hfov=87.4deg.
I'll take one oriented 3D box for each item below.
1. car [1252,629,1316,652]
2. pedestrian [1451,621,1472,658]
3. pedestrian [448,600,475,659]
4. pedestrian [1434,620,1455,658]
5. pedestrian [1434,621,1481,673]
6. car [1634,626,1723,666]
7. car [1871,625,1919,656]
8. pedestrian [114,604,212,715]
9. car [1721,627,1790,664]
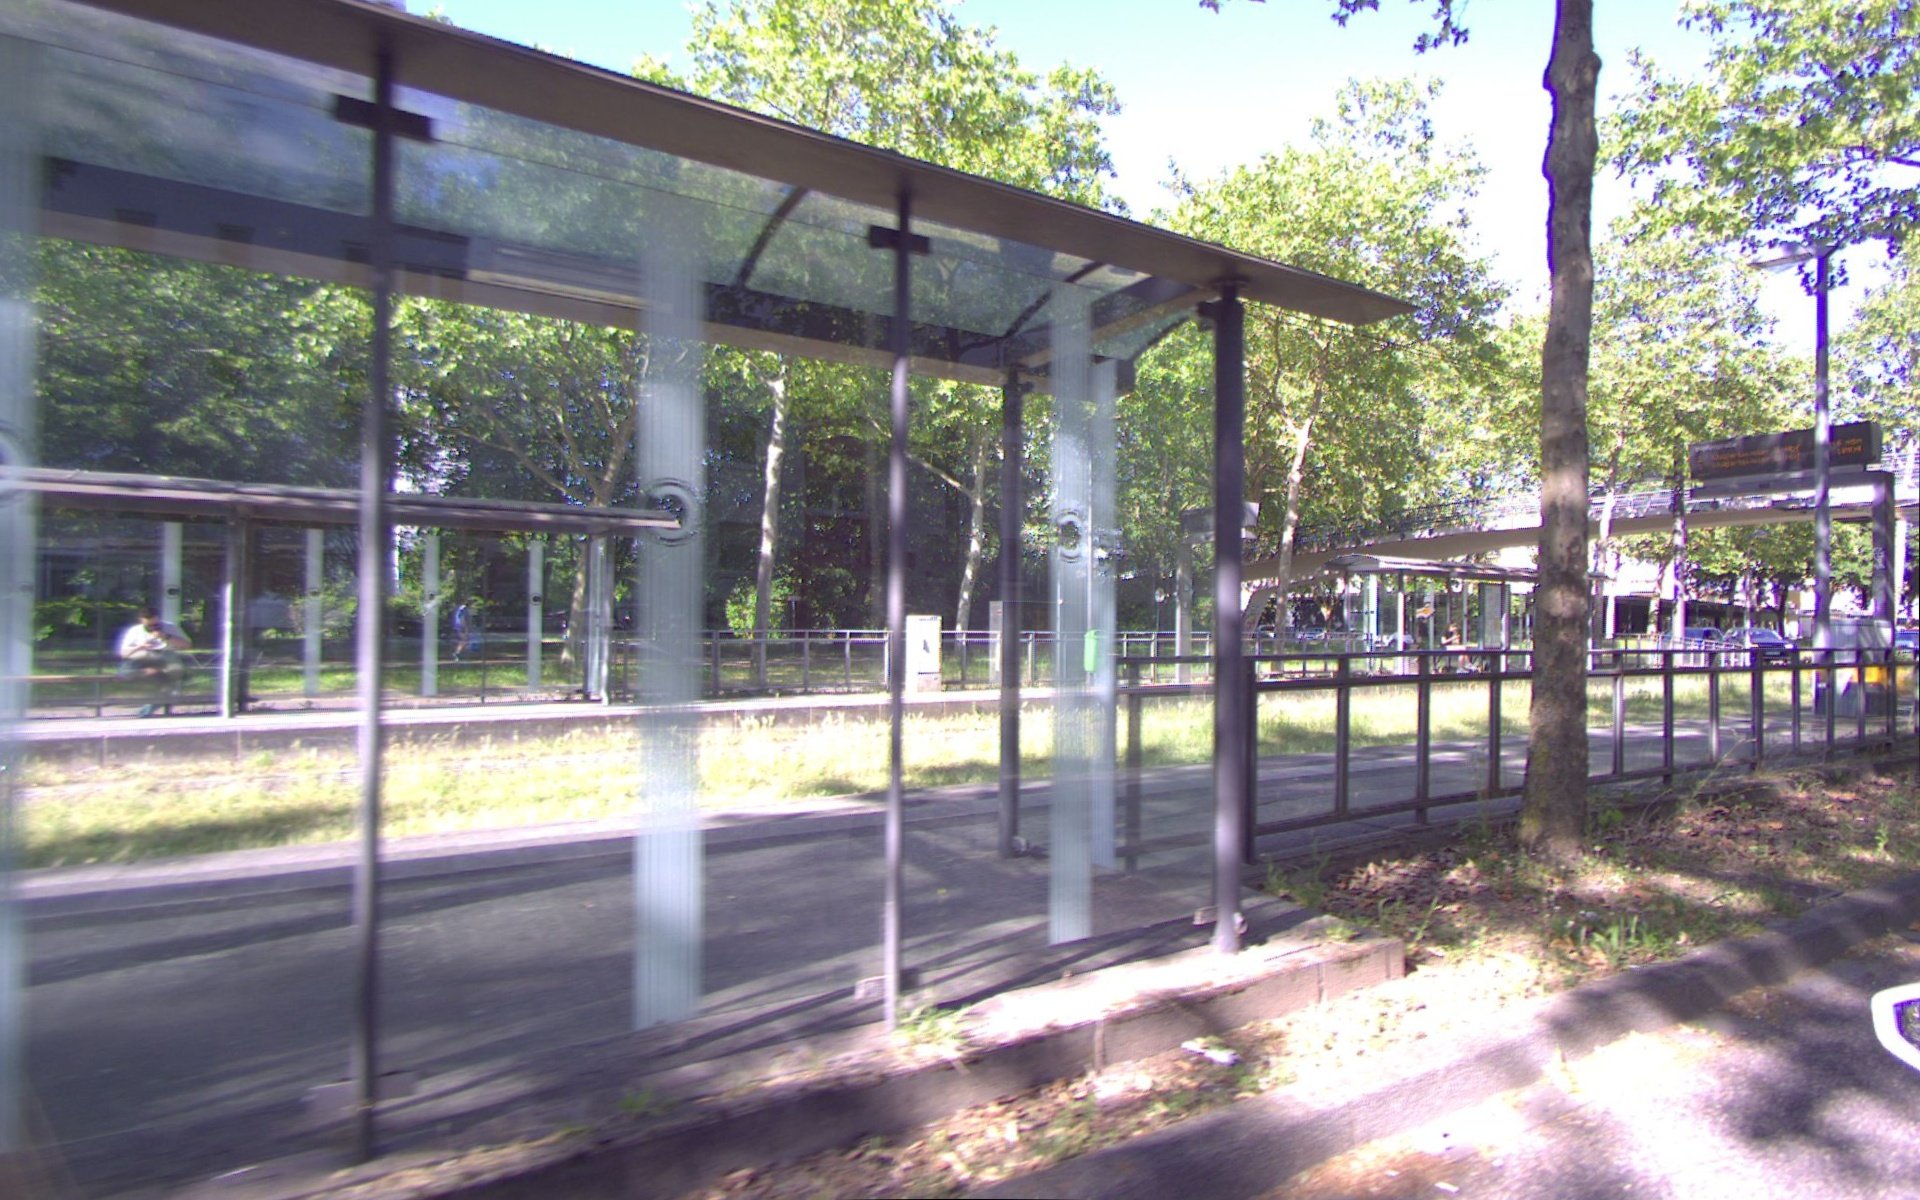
[{"bbox_3d":[22.869,2.859,71.025,1.784,1.530,4.044,1,-1,-37],"label":"car"},{"bbox_3d":[23.929,1.880,47.946,0.638,1.728,0.649,0,-1,-10],"label":"pedestrian"},{"bbox_3d":[-14.493,0.844,29.202,0.642,1.683,0.645,1,-1,-30],"label":"pedestrian"},{"bbox_3d":[23.020,1.847,47.704,0.638,1.807,0.649,0,-1,-10],"label":"pedestrian"},{"bbox_3d":[12.120,1.135,24.480,0.714,1.254,0.773,1,-1,-32],"label":"pedestrian"},{"bbox_3d":[30.591,1.915,42.734,4.245,1.587,1.782,1,-1,-35],"label":"car"},{"bbox_3d":[52.104,2.209,55.317,4.239,1.601,1.785,1,-1,-31],"label":"car"},{"bbox_3d":[-9.057,0.654,11.443,0.754,1.199,0.762,1,-1,-30],"label":"pedestrian"},{"bbox_3d":[35.675,2.003,45.141,1.768,1.587,4.280,0,-1,29],"label":"car"}]
